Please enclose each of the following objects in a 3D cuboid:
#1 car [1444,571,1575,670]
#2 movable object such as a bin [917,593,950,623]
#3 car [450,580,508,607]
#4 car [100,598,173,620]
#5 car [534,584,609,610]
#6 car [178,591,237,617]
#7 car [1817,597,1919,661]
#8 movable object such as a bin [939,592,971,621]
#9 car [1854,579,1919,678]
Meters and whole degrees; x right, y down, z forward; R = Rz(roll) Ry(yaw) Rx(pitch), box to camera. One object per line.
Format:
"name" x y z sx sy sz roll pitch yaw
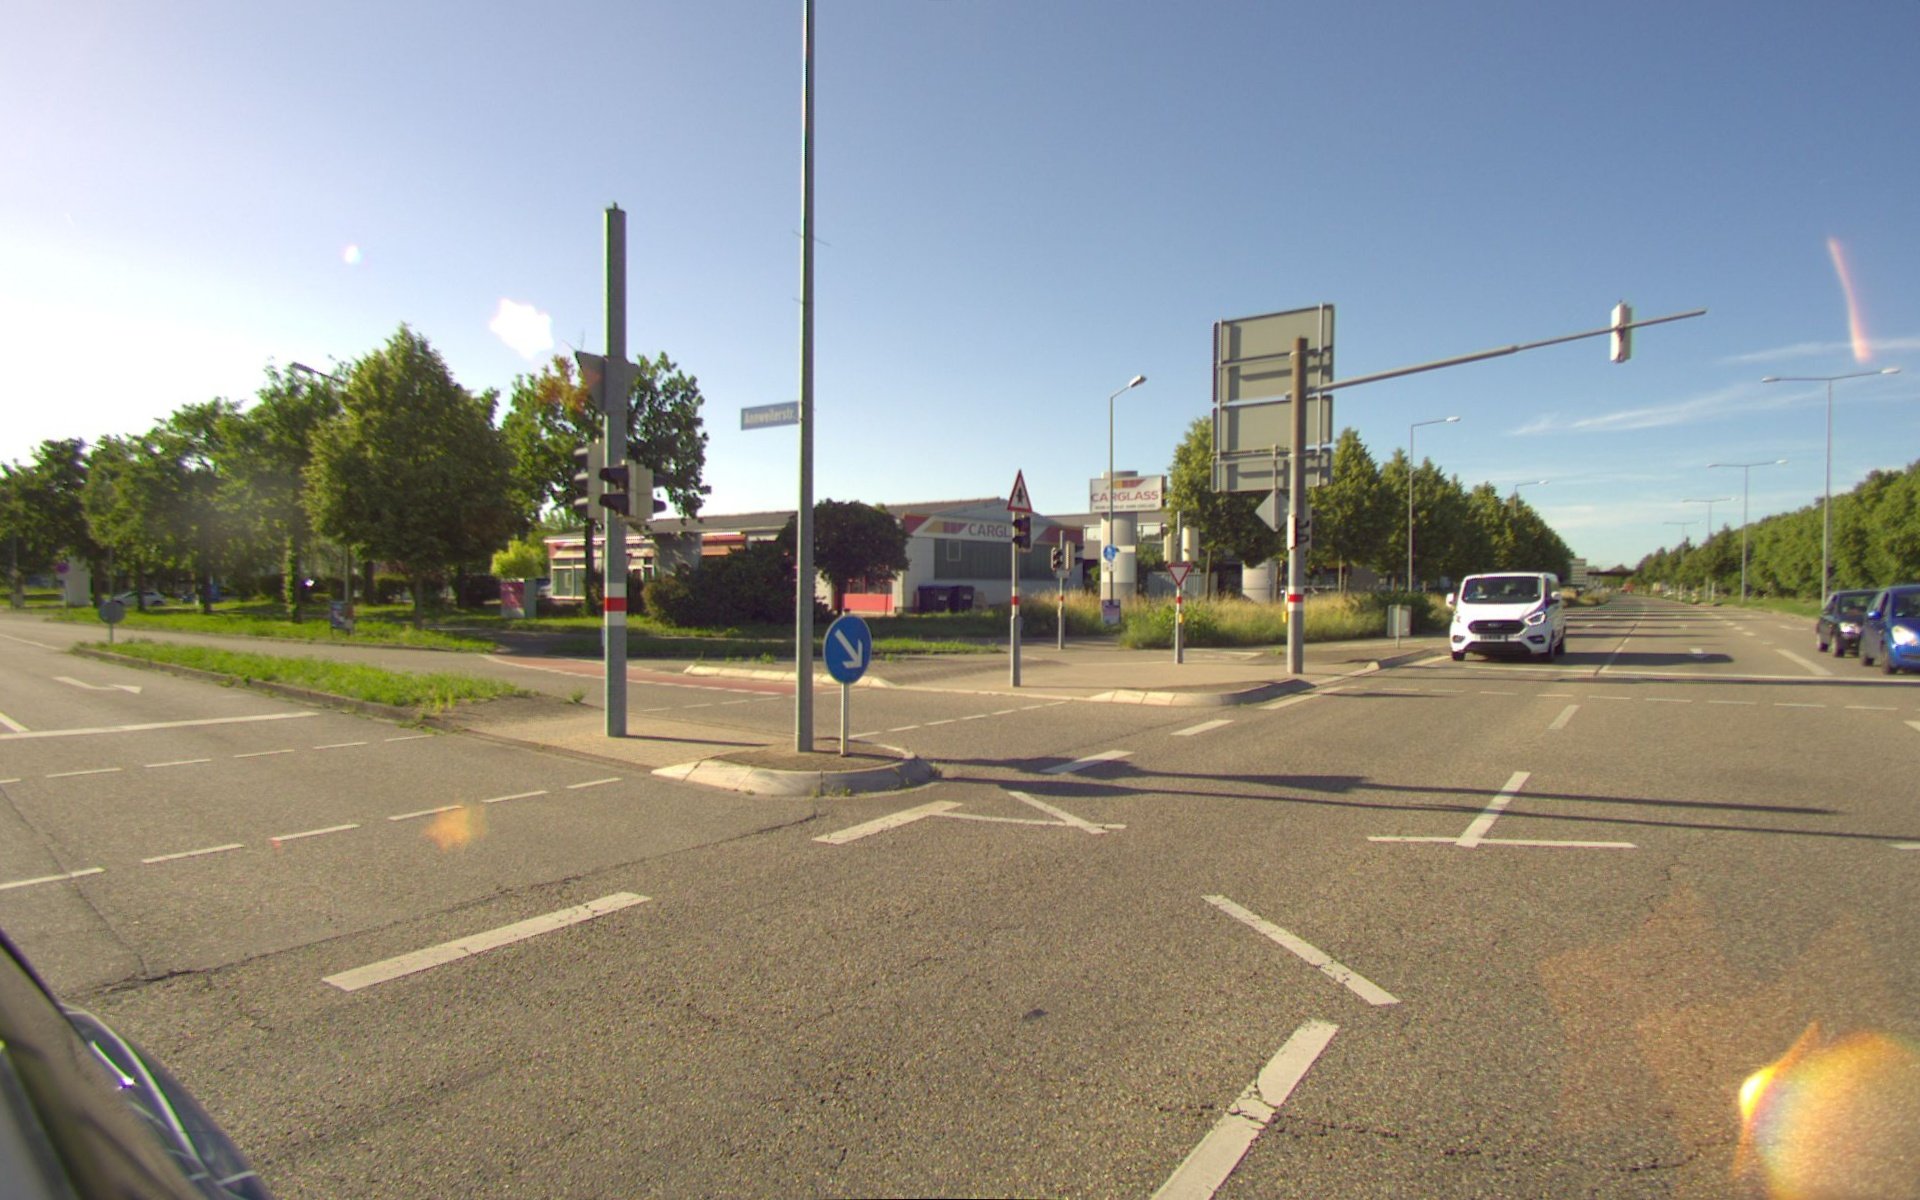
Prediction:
"car" 12.811 0.428 23.411 2.043 2.029 5.213 -2 -1 35
"movable object such as a bin" -1.177 0.341 45.633 0.992 1.308 1.116 0 0 41
"car" -41.166 -0.552 86.757 1.776 2.233 4.160 0 0 39
"car" -65.789 0.688 80.868 4.427 1.719 2.002 0 0 -44
"car" -25.923 -0.230 67.631 1.996 1.599 4.186 0 2 39
"car" -65.445 0.312 87.986 3.938 2.028 2.003 -3 2 -41
"car" 20.511 0.597 22.458 1.889 1.284 3.992 -2 -1 35
"movable object such as a bin" -0.236 0.297 46.791 0.992 1.308 1.116 0 0 41
"car" 17.601 0.455 18.124 1.889 1.656 3.992 -2 -1 35
